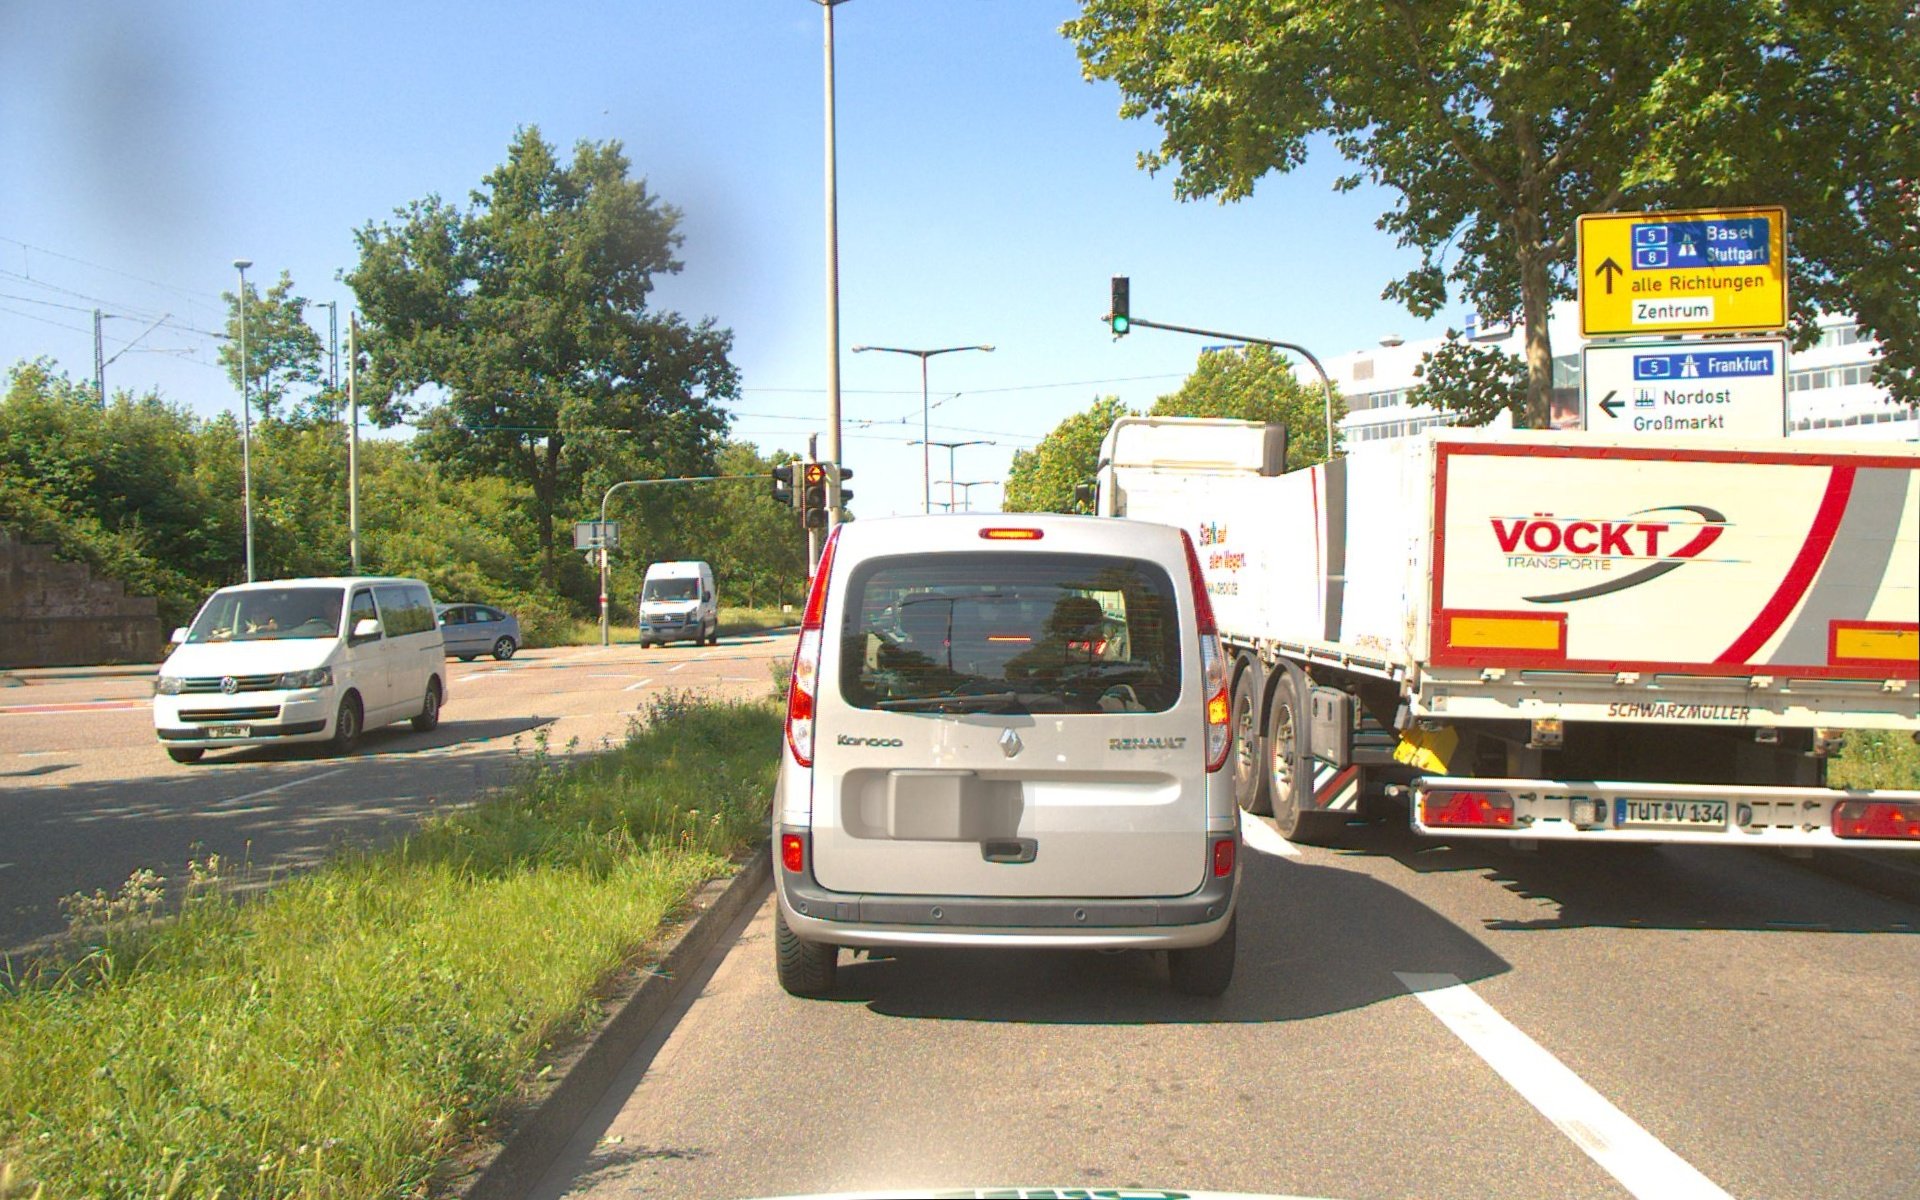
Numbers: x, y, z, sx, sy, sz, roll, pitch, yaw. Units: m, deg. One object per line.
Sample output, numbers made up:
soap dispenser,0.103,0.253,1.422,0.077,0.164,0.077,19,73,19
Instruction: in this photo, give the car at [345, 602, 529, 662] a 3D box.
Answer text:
car,-13.225,0.773,42.012,1.879,1.433,4.212,0,0,36

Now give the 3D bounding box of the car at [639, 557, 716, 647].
car,-8.859,0.067,52.271,2.019,2.660,5.862,0,0,-6

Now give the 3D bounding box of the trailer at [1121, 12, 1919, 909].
trailer,3.328,-0.589,13.155,2.954,3.806,12.239,0,0,0

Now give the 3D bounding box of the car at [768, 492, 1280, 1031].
car,0.205,0.543,7.521,1.713,1.803,3.949,0,0,0

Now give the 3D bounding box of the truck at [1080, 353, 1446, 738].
truck,3.288,-0.535,20.183,3.009,3.823,7.474,0,0,-1

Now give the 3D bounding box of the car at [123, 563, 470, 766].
car,-7.348,0.644,18.986,1.953,1.924,4.987,-3,0,-1
